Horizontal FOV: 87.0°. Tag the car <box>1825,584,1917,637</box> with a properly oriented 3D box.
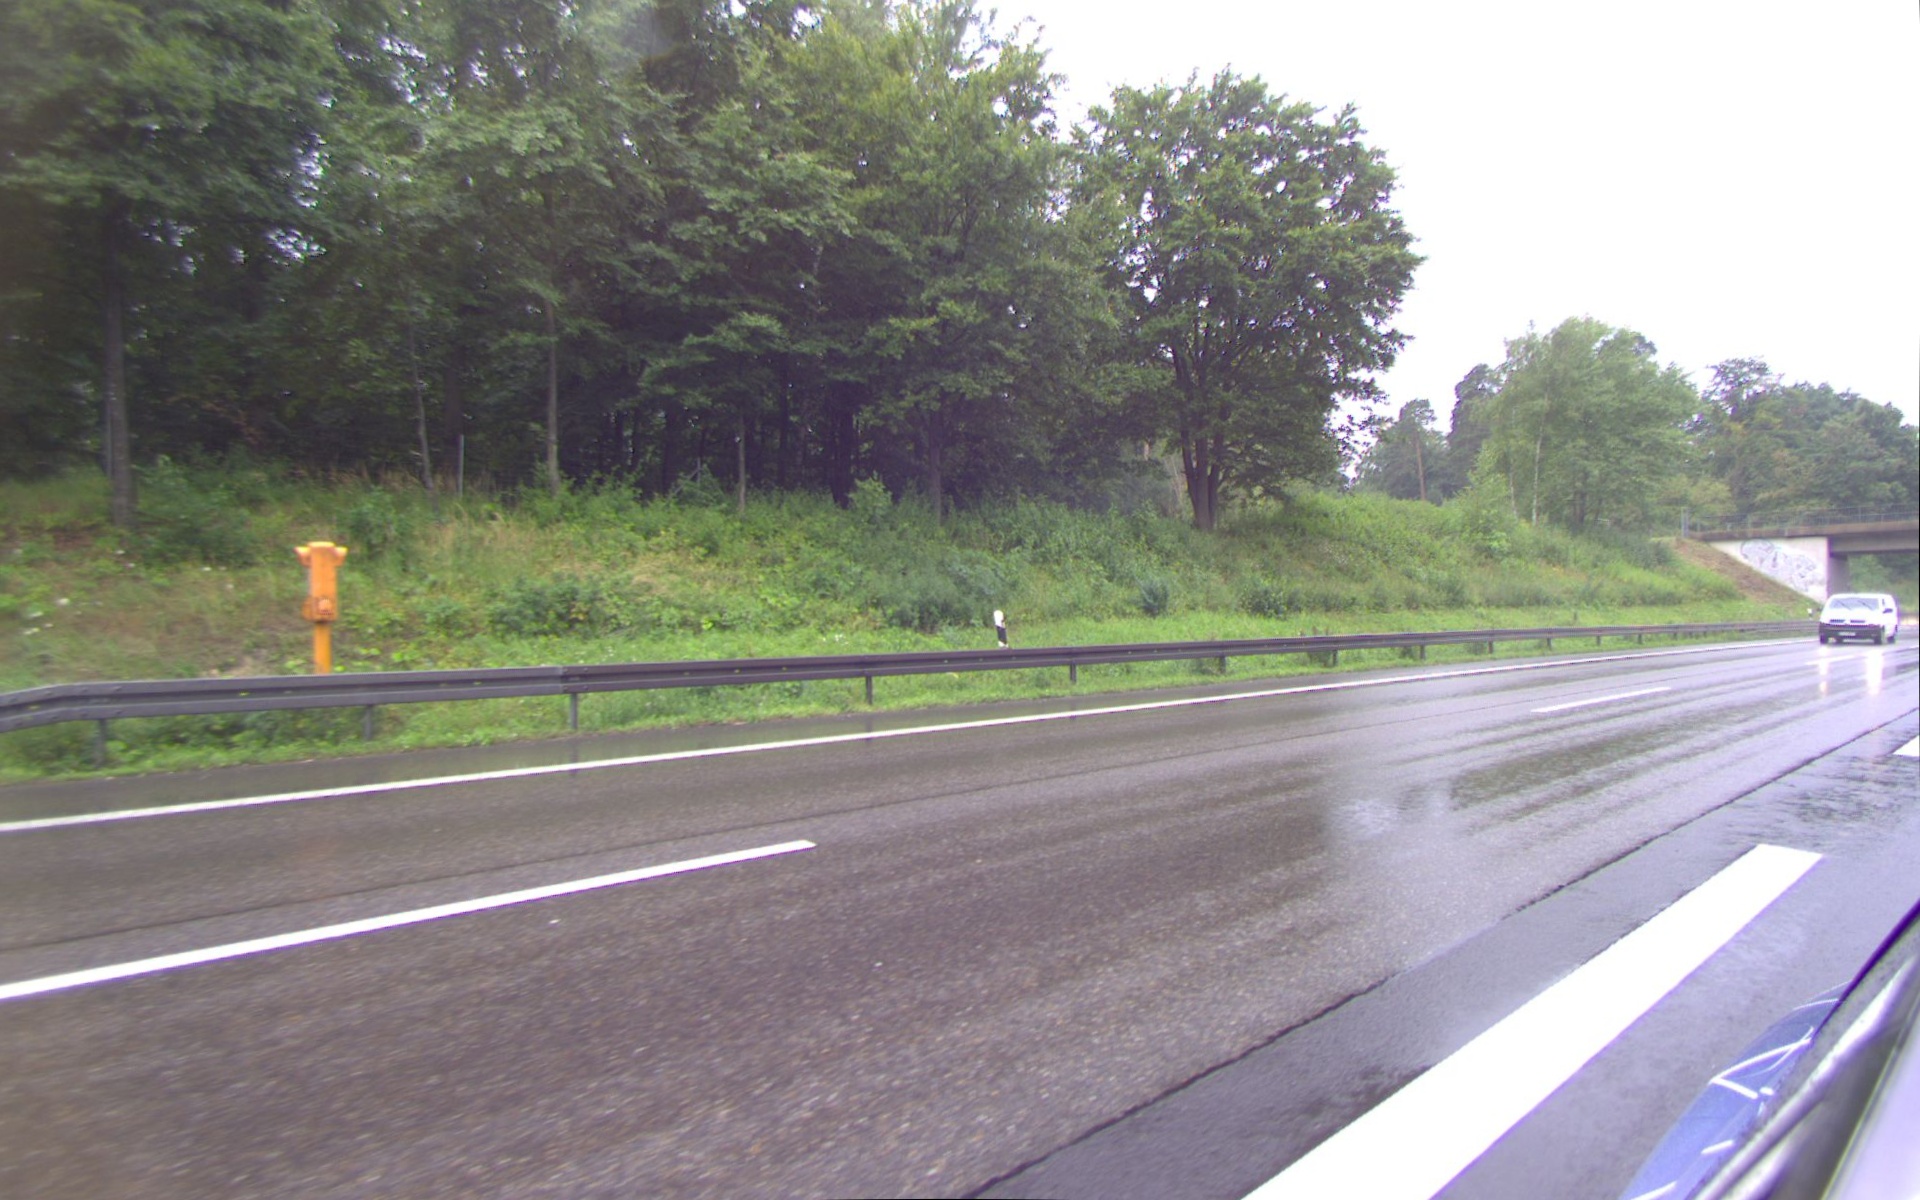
[{"bbox_3d":[35.716,0.381,39.654,4.681,1.945,1.994,0,0,-39],"label":"car"}]
